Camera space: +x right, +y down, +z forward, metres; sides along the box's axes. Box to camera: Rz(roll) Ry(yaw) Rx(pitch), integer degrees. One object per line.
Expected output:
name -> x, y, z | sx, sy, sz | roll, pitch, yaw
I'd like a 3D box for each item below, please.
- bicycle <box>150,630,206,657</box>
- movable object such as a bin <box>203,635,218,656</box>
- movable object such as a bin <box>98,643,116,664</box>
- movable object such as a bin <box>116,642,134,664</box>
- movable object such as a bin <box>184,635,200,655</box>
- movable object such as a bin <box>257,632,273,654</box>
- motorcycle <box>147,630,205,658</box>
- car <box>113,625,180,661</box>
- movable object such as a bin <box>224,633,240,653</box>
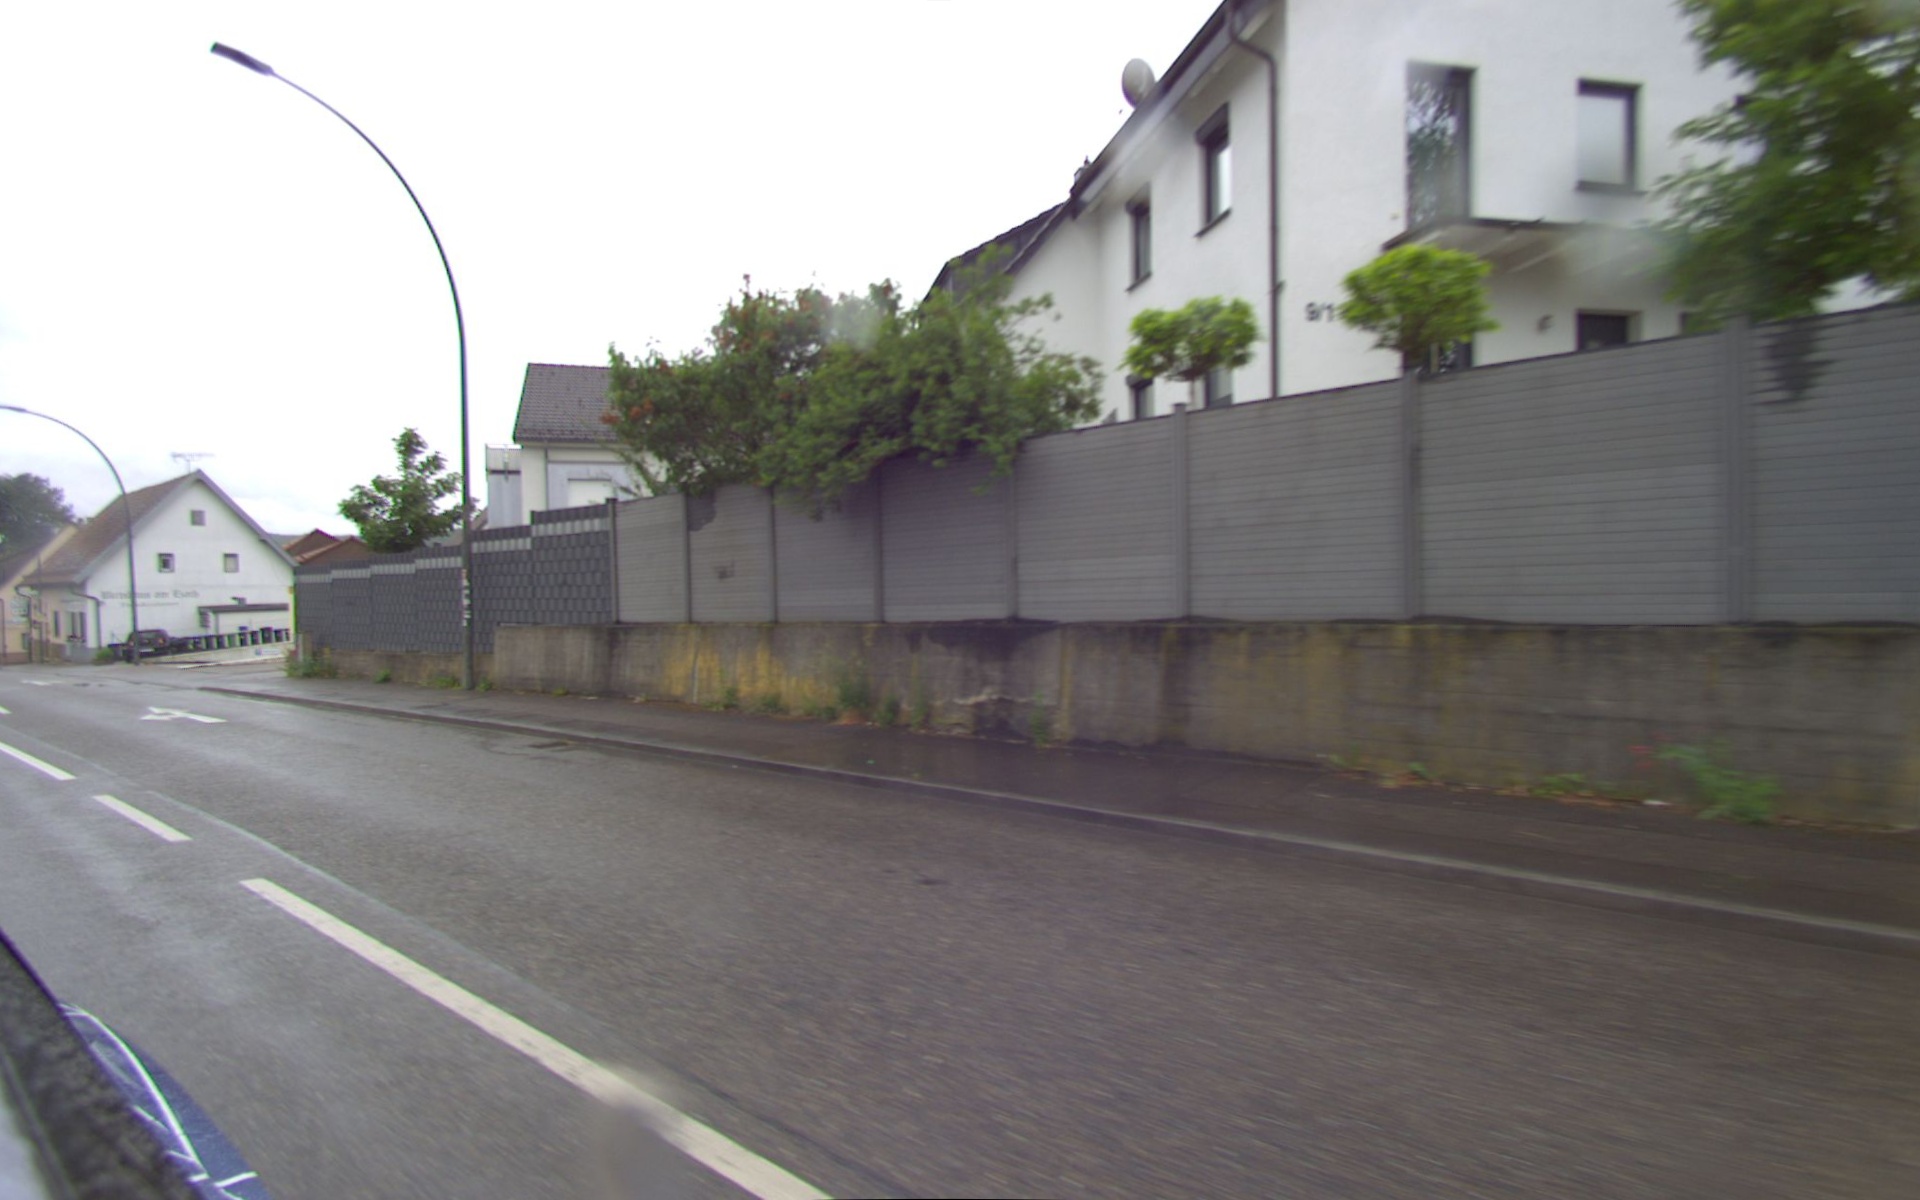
bicycle -> -38.933, 2.172, 50.401 | 2.070, 1.122, 0.739 | -5, 3, -33
movable object such as a bin -> -39.039, 2.361, 52.723 | 0.629, 1.040, 0.606 | 0, -3, -36
movable object such as a bin -> -42.358, 2.665, 50.280 | 0.629, 1.040, 0.675 | 0, -3, -36
movable object such as a bin -> -41.803, 2.651, 50.667 | 0.629, 1.040, 0.606 | 0, -3, -36
movable object such as a bin -> -39.654, 2.327, 52.267 | 0.629, 1.040, 0.606 | 0, -3, -36
movable object such as a bin -> -36.948, 2.273, 53.801 | 0.629, 1.139, 0.606 | -4, 0, -36
motorcycle -> -38.522, 2.164, 49.758 | 2.082, 1.122, 0.782 | -6, 3, -33
car -> -37.771, 2.010, 47.086 | 1.875, 1.453, 3.839 | -4, 0, -31
movable object such as a bin -> -38.137, 2.258, 53.039 | 0.630, 1.040, 0.606 | -3, 0, -37
